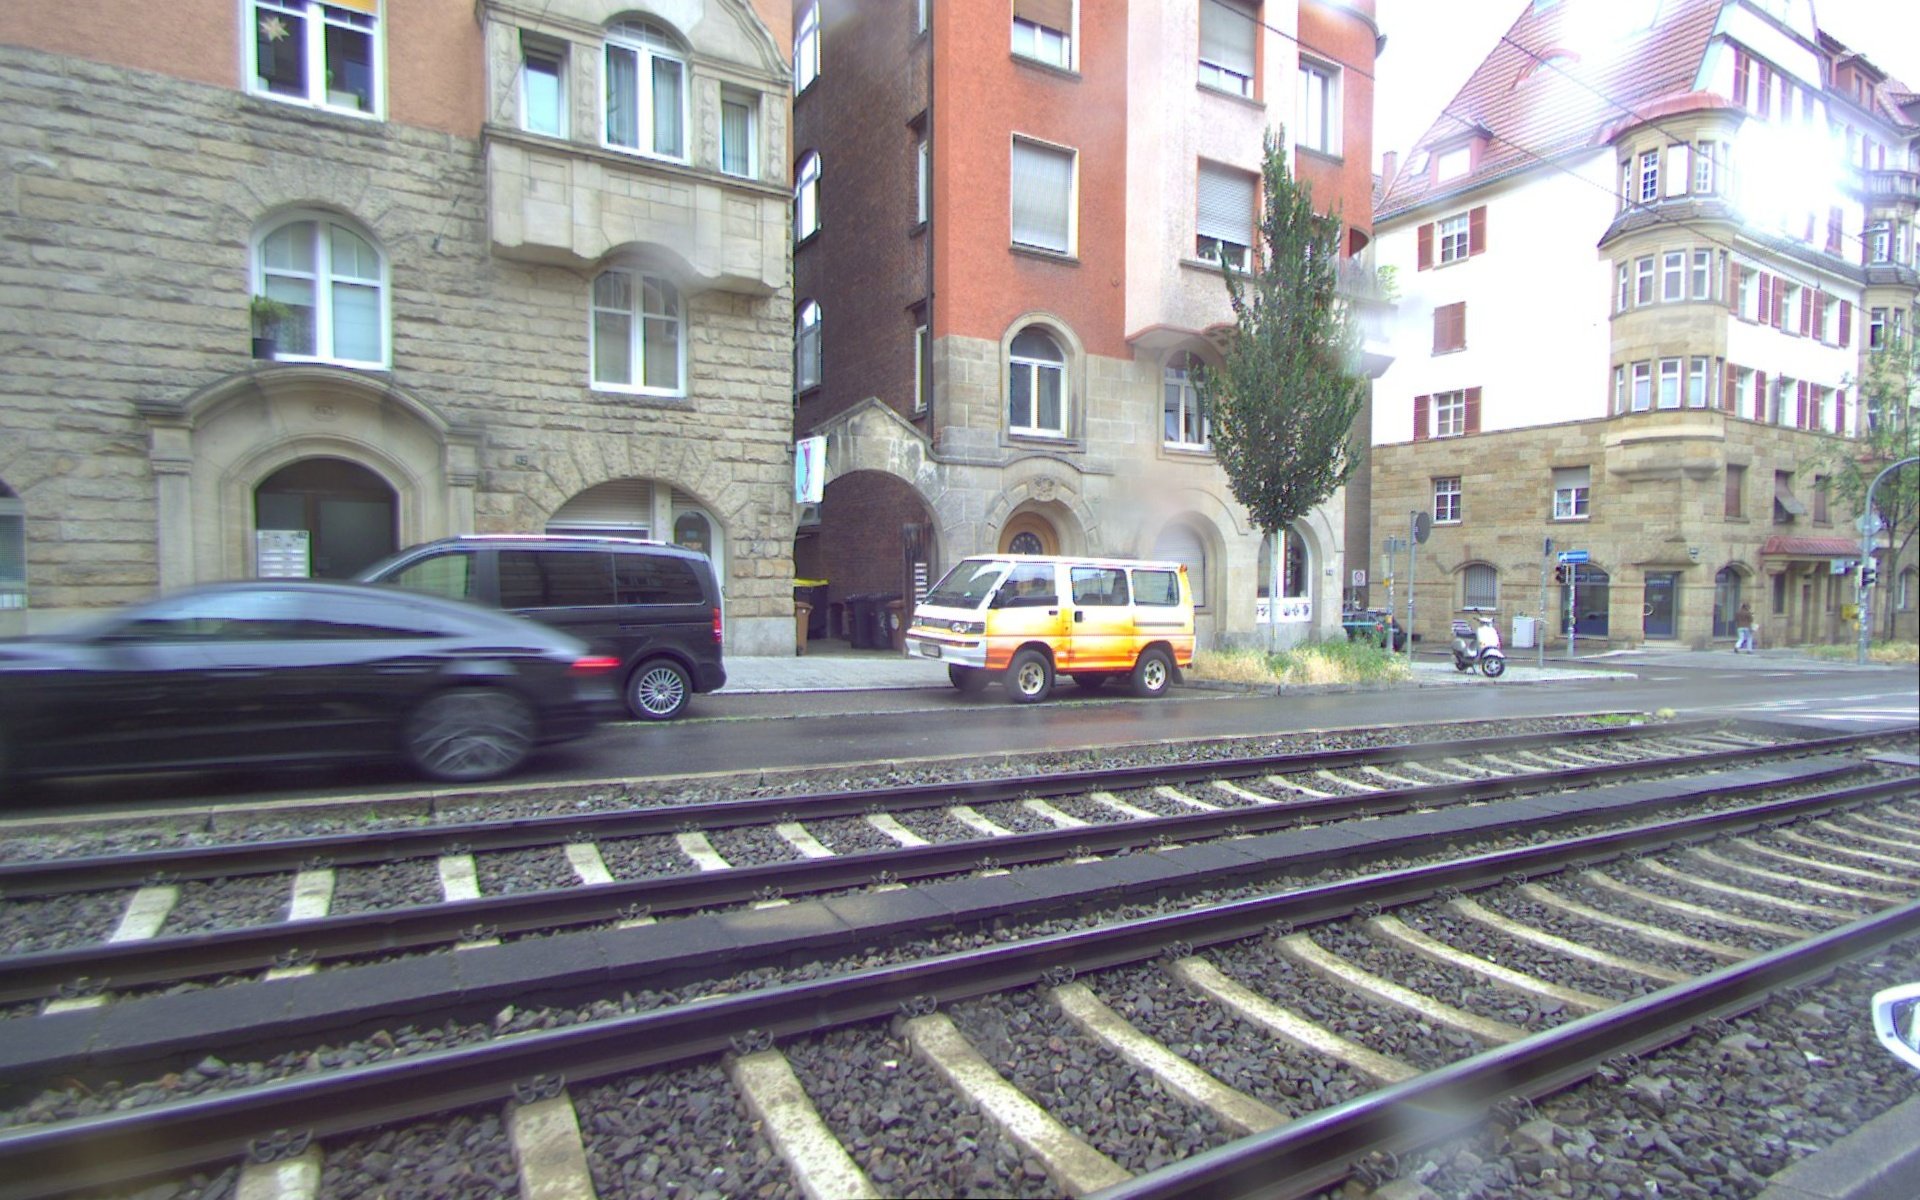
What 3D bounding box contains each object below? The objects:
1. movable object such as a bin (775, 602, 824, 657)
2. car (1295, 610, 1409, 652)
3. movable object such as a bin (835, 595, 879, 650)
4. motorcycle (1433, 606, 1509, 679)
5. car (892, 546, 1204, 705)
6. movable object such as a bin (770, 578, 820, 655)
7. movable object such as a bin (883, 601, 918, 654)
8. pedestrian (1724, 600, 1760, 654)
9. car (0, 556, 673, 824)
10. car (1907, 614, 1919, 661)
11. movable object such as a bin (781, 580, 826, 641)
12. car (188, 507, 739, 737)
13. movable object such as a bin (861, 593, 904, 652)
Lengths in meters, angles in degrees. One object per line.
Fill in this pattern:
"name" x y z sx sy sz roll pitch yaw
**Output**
"movable object such as a bin" -2.828 0.514 17.634 0.627 0.918 0.793 1 1 -27
"car" 14.526 1.134 37.386 1.683 1.423 3.618 2 0 -34
"movable object such as a bin" -2.020 0.435 19.729 0.607 1.053 0.793 1 -1 -27
"motorcycle" 10.169 0.821 20.044 0.612 1.384 1.596 2 0 -3
"car" 1.339 0.370 14.483 4.295 2.001 1.721 2 0 -32
"movable object such as a bin" -3.043 0.292 18.507 0.648 1.360 0.903 1 1 -27
"movable object such as a bin" -1.110 0.506 18.675 0.442 0.957 0.557 1 -1 -27
"pedestrian" 25.194 0.864 32.355 0.693 1.695 0.629 2 0 -26
"car" -4.783 0.529 7.273 4.909 1.544 1.793 1 0 -32
"car" 34.233 1.312 34.395 3.994 1.573 1.741 2 0 -34
"movable object such as a bin" -3.547 0.226 22.701 0.676 1.324 1.154 1 1 -26
"car" -4.988 0.247 10.639 4.769 1.968 1.984 2 0 -30
"movable object such as a bin" -1.482 0.431 19.183 0.607 1.090 0.679 1 -1 -27
